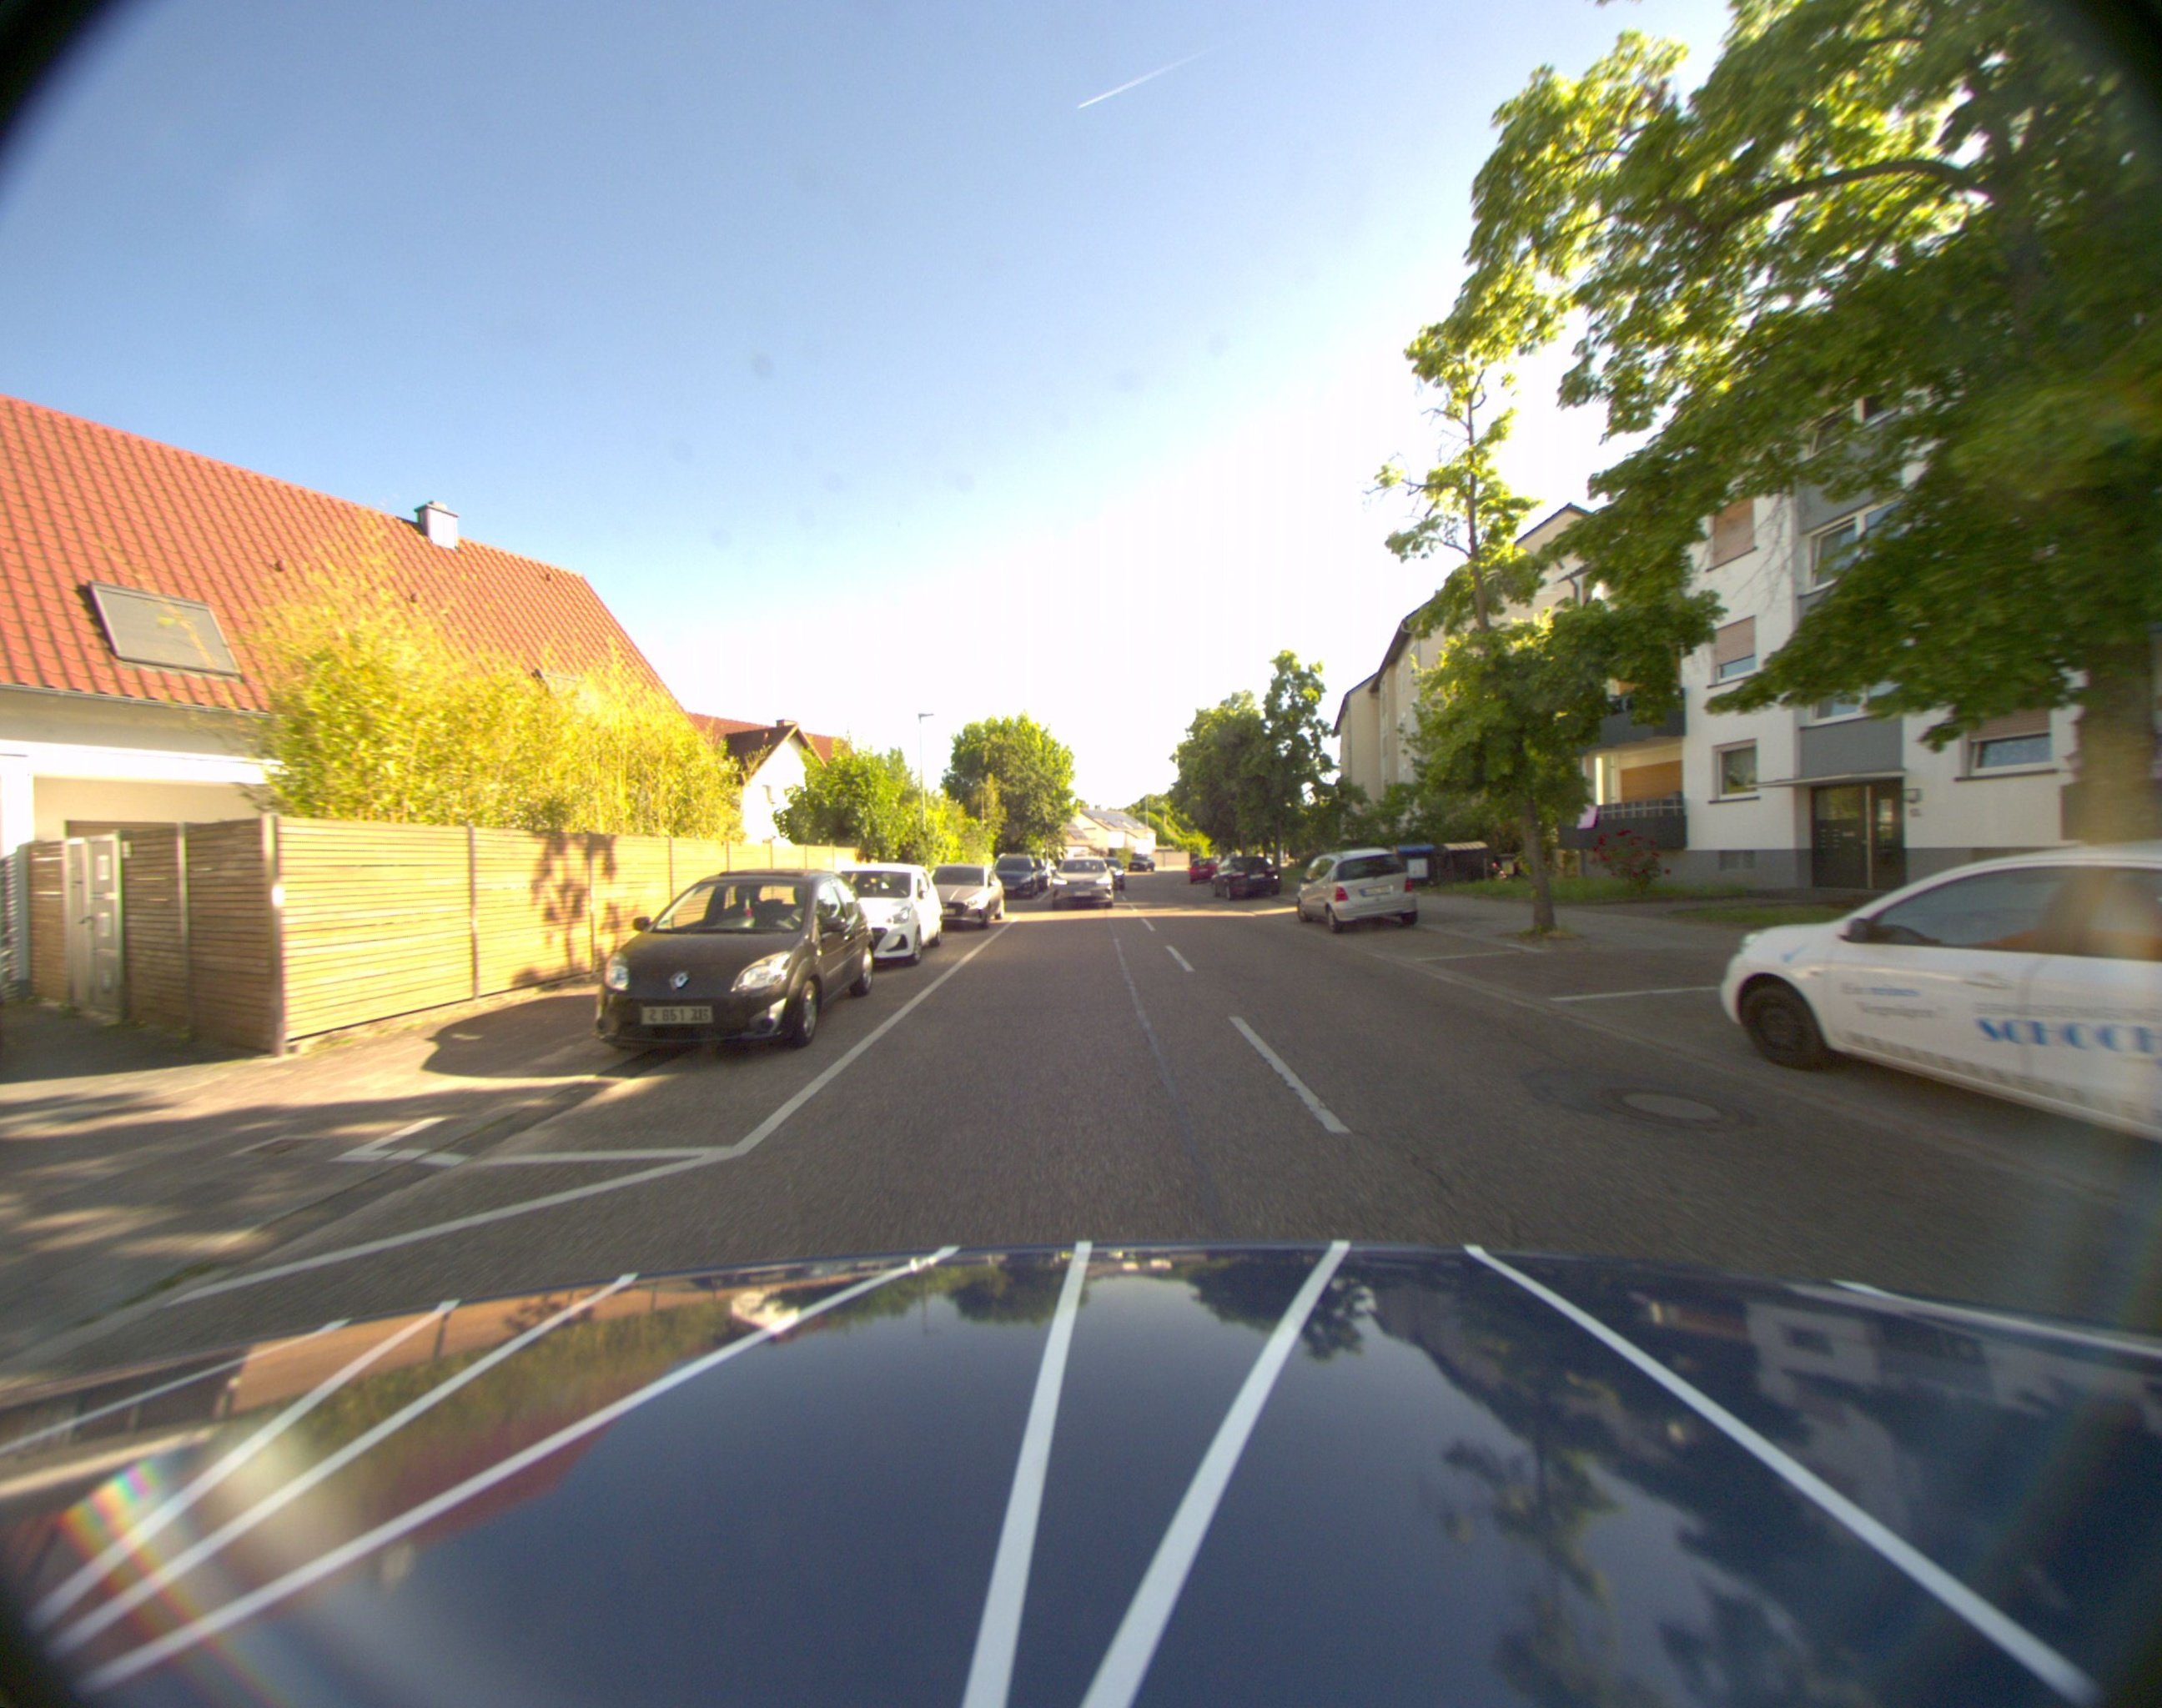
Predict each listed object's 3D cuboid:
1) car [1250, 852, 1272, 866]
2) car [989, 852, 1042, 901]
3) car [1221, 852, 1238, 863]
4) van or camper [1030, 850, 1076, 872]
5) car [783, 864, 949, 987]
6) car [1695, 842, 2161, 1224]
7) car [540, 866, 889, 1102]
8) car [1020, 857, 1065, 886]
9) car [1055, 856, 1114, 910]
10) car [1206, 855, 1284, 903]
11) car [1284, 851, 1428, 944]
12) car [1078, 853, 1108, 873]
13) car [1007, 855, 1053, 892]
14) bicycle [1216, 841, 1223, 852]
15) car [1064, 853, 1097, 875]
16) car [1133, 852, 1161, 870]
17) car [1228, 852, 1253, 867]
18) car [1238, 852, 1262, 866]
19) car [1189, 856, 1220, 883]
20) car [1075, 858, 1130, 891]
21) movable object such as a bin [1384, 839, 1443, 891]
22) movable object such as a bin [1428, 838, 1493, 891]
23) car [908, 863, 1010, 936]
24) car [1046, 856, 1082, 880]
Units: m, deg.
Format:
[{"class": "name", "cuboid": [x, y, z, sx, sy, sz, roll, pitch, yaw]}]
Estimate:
[{"class": "car", "cuboid": [20.730, 0.568, 87.417, 1.649, 1.530, 3.710, -1, 0, 27]}, {"class": "car", "cuboid": [-2.584, 0.852, 30.790, 1.747, 1.802, 4.429, -1, 0, 0]}, {"class": "car", "cuboid": [21.855, 0.559, 111.560, 1.637, 1.568, 3.710, -1, 0, 23]}, {"class": "van or camper", "cuboid": [-2.618, 0.628, 71.468, 3.843, 2.002, 1.954, -1, 0, 28]}, {"class": "car", "cuboid": [-3.297, 1.009, 12.395, 1.729, 1.591, 3.815, -2, 0, -3]}, {"class": "car", "cuboid": [5.548, 0.772, 3.902, 1.696, 1.557, 3.907, -5, 0, 3]}, {"class": "car", "cuboid": [-3.146, 0.977, 7.450, 1.661, 1.591, 3.815, -2, 0, -3]}, {"class": "car", "cuboid": [-2.141, 0.961, 43.718, 1.766, 1.554, 4.664, -1, 0, 7]}, {"class": "car", "cuboid": [0.108, 0.899, 25.213, 1.777, 1.624, 3.704, -1, 0, 0]}, {"class": "car", "cuboid": [6.035, 0.864, 28.472, 1.726, 1.485, 4.543, -7, 0, -1]}, {"class": "car", "cuboid": [5.763, 0.821, 16.438, 1.726, 1.583, 3.909, -7, 0, 3]}, {"class": "car", "cuboid": [1.055, 0.700, 62.923, 1.635, 1.565, 3.708, 2, 1, 14]}, {"class": "car", "cuboid": [-2.428, 0.914, 37.387, 1.767, 1.666, 4.395, -1, 0, 2]}, {"class": "bicycle", "cuboid": [12.449, -0.653, 68.338, 0.357, 1.001, 1.201, -2, -1, 19]}, {"class": "car", "cuboid": [0.008, 0.731, 58.308, 1.721, 1.565, 4.004, 2, 1, 12]}, {"class": "car", "cuboid": [6.688, 0.655, 76.882, 1.774, 1.727, 3.710, 2, 1, 23]}, {"class": "car", "cuboid": [16.693, 0.571, 79.412, 1.649, 1.530, 3.710, -1, 0, 27]}, {"class": "car", "cuboid": [18.533, 0.552, 83.109, 1.649, 1.530, 3.710, -1, 0, 27]}, {"class": "car", "cuboid": [7.522, 0.911, 46.302, 1.660, 1.485, 3.911, -5, -1, 10]}, {"class": "car", "cuboid": [1.027, 0.985, 37.885, 1.583, 1.568, 3.698, -1, 0, -18]}, {"class": "movable object such as a bin", "cuboid": [11.029, 0.358, 25.291, 1.416, 1.653, 1.267, -1, 0, 3]}, {"class": "movable object such as a bin", "cuboid": [11.407, 0.313, 22.907, 1.293, 1.534, 1.327, -1, 0, 3]}, {"class": "car", "cuboid": [-2.802, 1.008, 18.221, 1.646, 1.485, 3.890, -1, 0, 2]}, {"class": "car", "cuboid": [-1.144, 0.908, 52.676, 1.656, 1.554, 4.468, -1, 0, 10]}]
